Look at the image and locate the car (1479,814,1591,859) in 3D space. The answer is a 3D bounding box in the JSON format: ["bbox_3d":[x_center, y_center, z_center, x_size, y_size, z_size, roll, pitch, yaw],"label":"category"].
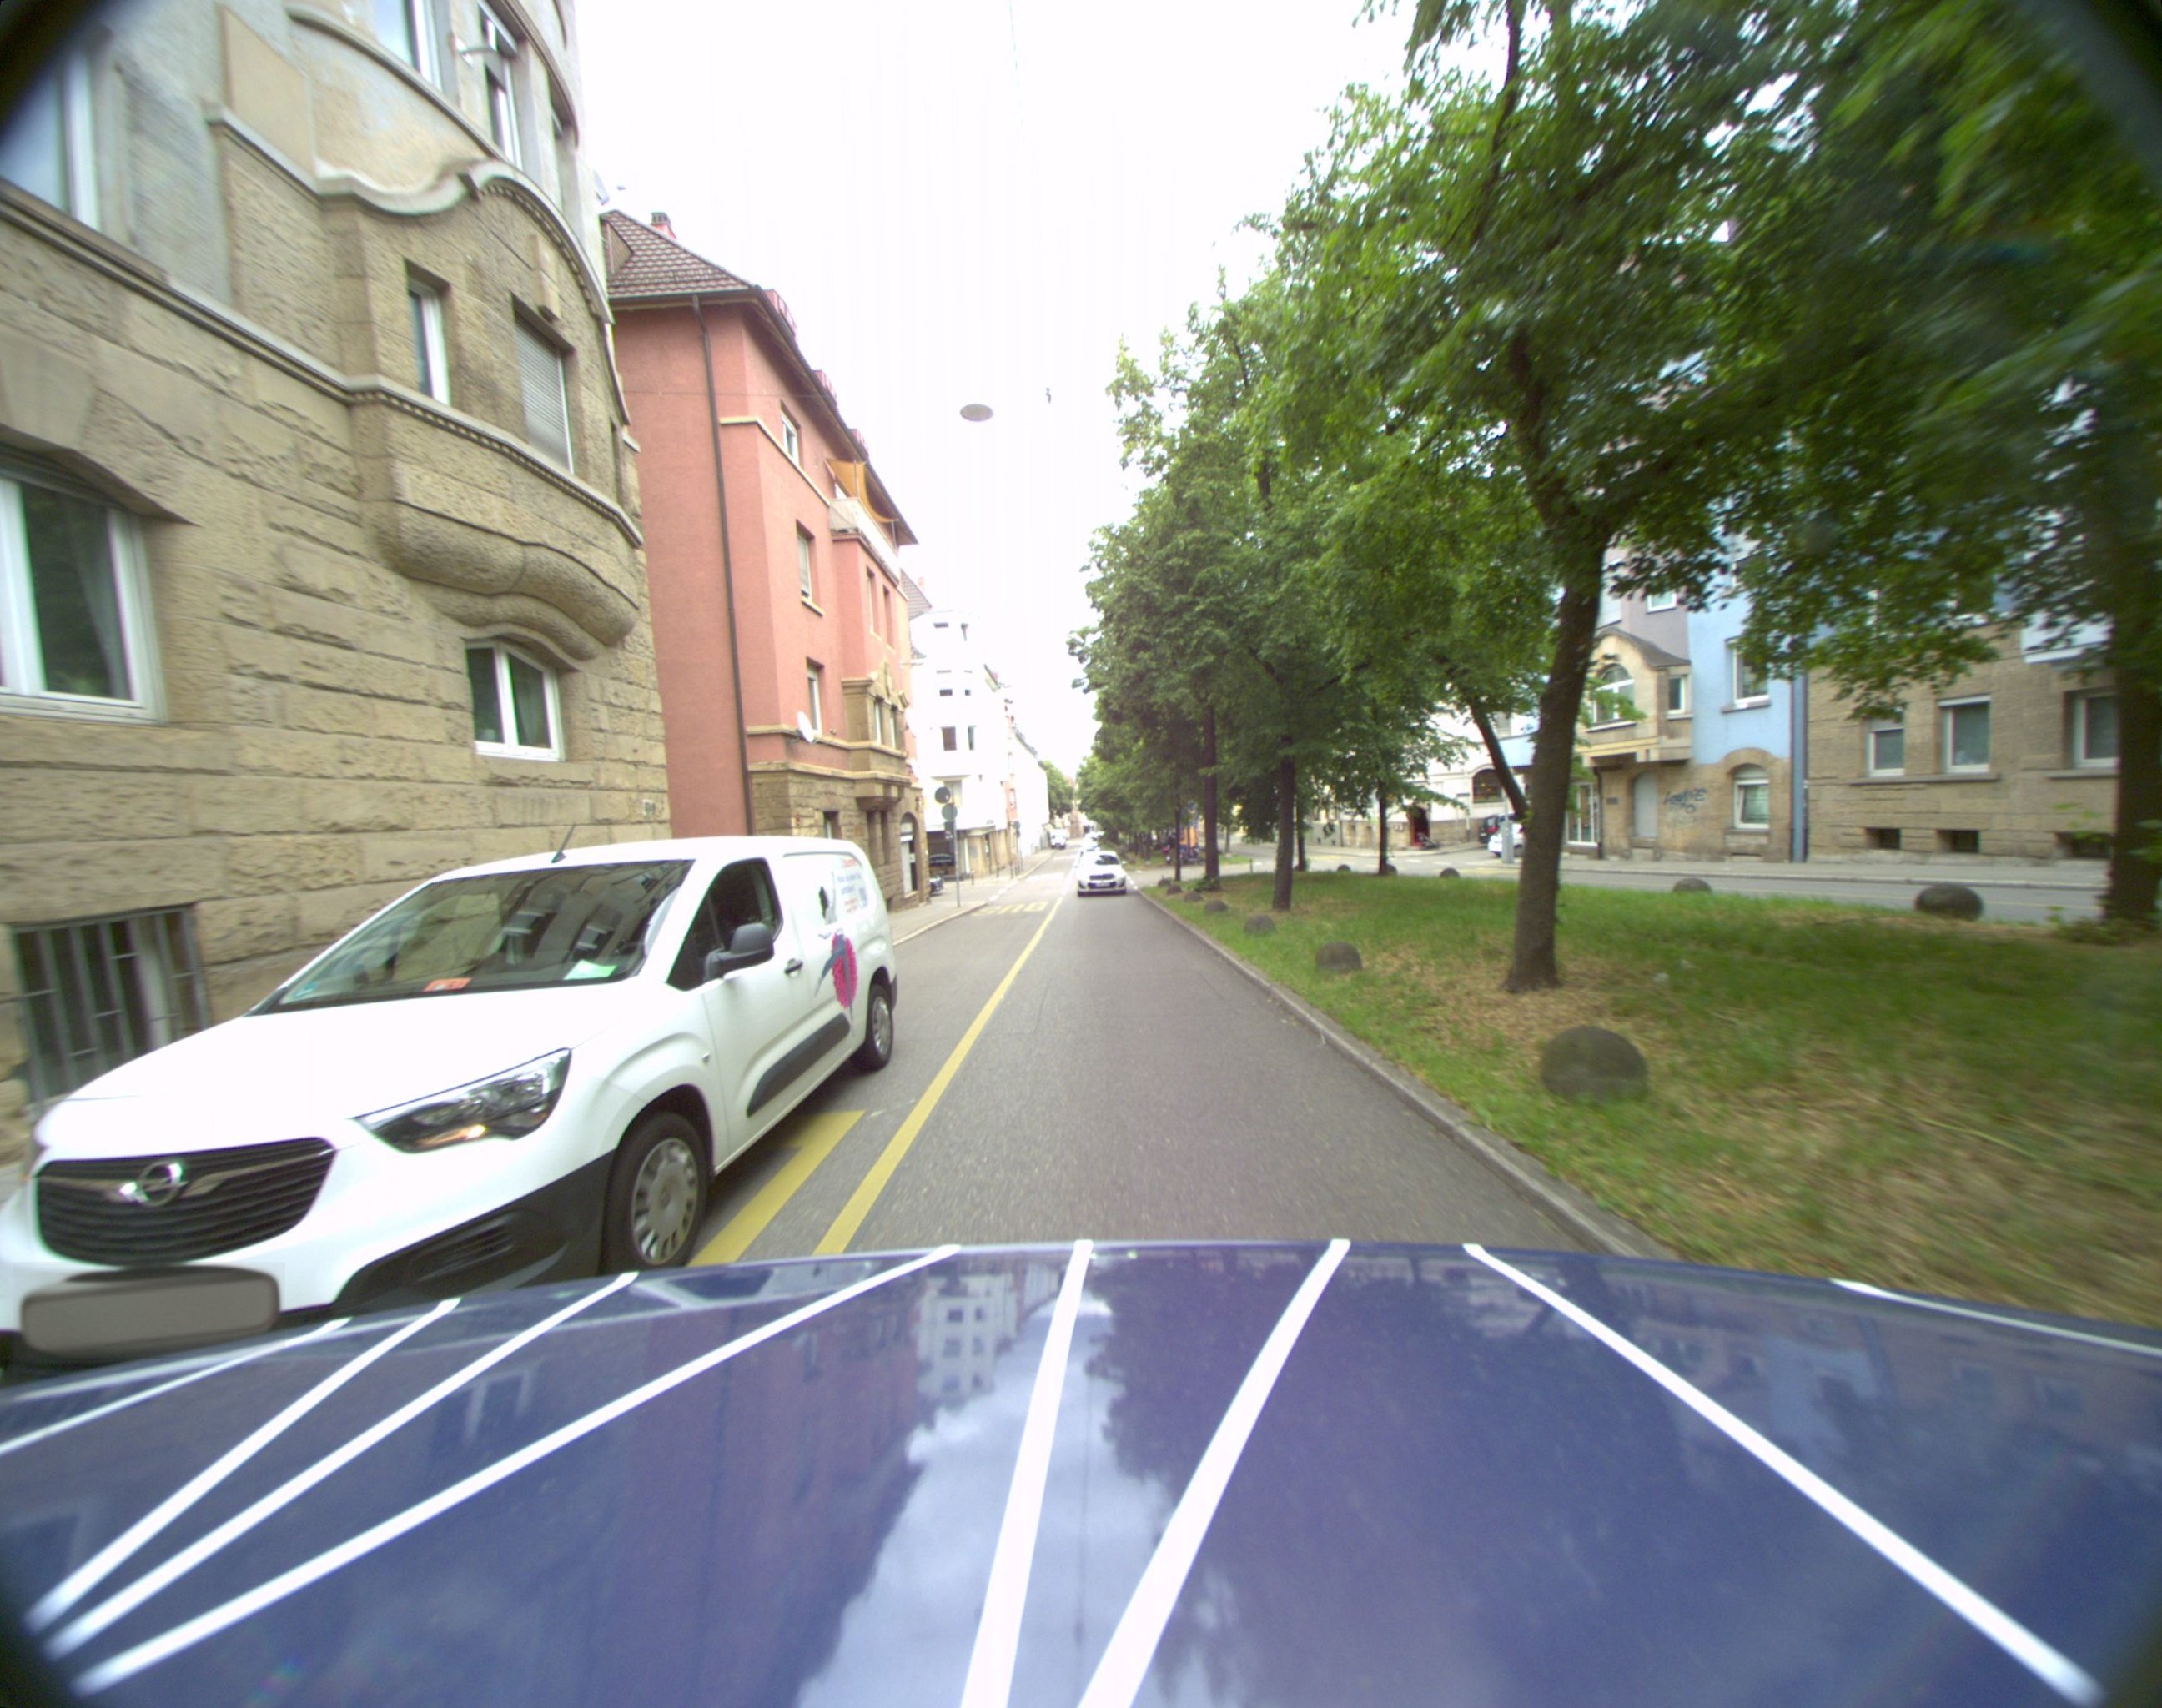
[{"bbox_3d":[20.992,-0.841,35.224,4.007,1.462,1.870,-8,4,-2],"label":"car"}]

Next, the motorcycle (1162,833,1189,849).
[{"bbox_3d":[9.130,-1.258,73.538,2.424,1.475,0.963,-2,4,1],"label":"motorcycle"}]

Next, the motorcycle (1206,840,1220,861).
[{"bbox_3d":[7.997,-0.234,46.060,0.750,1.068,1.851,-4,4,8],"label":"motorcycle"}]

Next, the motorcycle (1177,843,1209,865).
[{"bbox_3d":[6.530,-0.008,44.247,1.735,1.090,0.550,-4,4,4],"label":"motorcycle"}]

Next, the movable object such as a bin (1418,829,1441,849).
[{"bbox_3d":[19.603,-0.844,42.769,0.888,0.988,0.668,-6,2,-1],"label":"movable object such as a bin"}]

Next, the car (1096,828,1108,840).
[{"bbox_3d":[6.334,-6.025,227.626,3.026,3.045,7.165,-3,3,0],"label":"car"}]

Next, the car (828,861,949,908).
[{"bbox_3d":[-9.121,1.427,36.442,5.141,1.541,2.237,-6,2,-4],"label":"car"}]

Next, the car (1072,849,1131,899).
[{"bbox_3d":[0.695,0.697,29.037,1.854,1.595,4.561,-4,1,-2],"label":"car"}]

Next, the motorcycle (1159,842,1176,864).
[{"bbox_3d":[5.257,-0.073,46.098,0.888,1.090,2.481,-4,4,8],"label":"motorcycle"}]

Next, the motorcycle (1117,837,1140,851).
[{"bbox_3d":[4.439,-0.909,70.369,2.041,1.126,0.453,-4,4,1],"label":"motorcycle"}]

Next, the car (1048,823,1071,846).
[{"bbox_3d":[-3.082,-2.882,109.835,3.026,3.045,7.165,-3,3,0],"label":"car"}]

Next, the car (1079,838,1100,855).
[{"bbox_3d":[0.897,-0.722,74.204,1.854,1.361,4.280,-5,2,2],"label":"car"}]

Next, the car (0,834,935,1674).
[{"bbox_3d":[-2.492,0.909,4.239,1.853,1.815,5.020,-5,2,5],"label":"car"}]

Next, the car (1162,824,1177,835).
[{"bbox_3d":[13.666,-3.812,117.831,1.818,1.554,4.253,-3,1,1],"label":"car"}]

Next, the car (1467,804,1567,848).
[{"bbox_3d":[22.862,-1.493,39.941,4.007,1.690,1.871,-8,2,2],"label":"car"}]
